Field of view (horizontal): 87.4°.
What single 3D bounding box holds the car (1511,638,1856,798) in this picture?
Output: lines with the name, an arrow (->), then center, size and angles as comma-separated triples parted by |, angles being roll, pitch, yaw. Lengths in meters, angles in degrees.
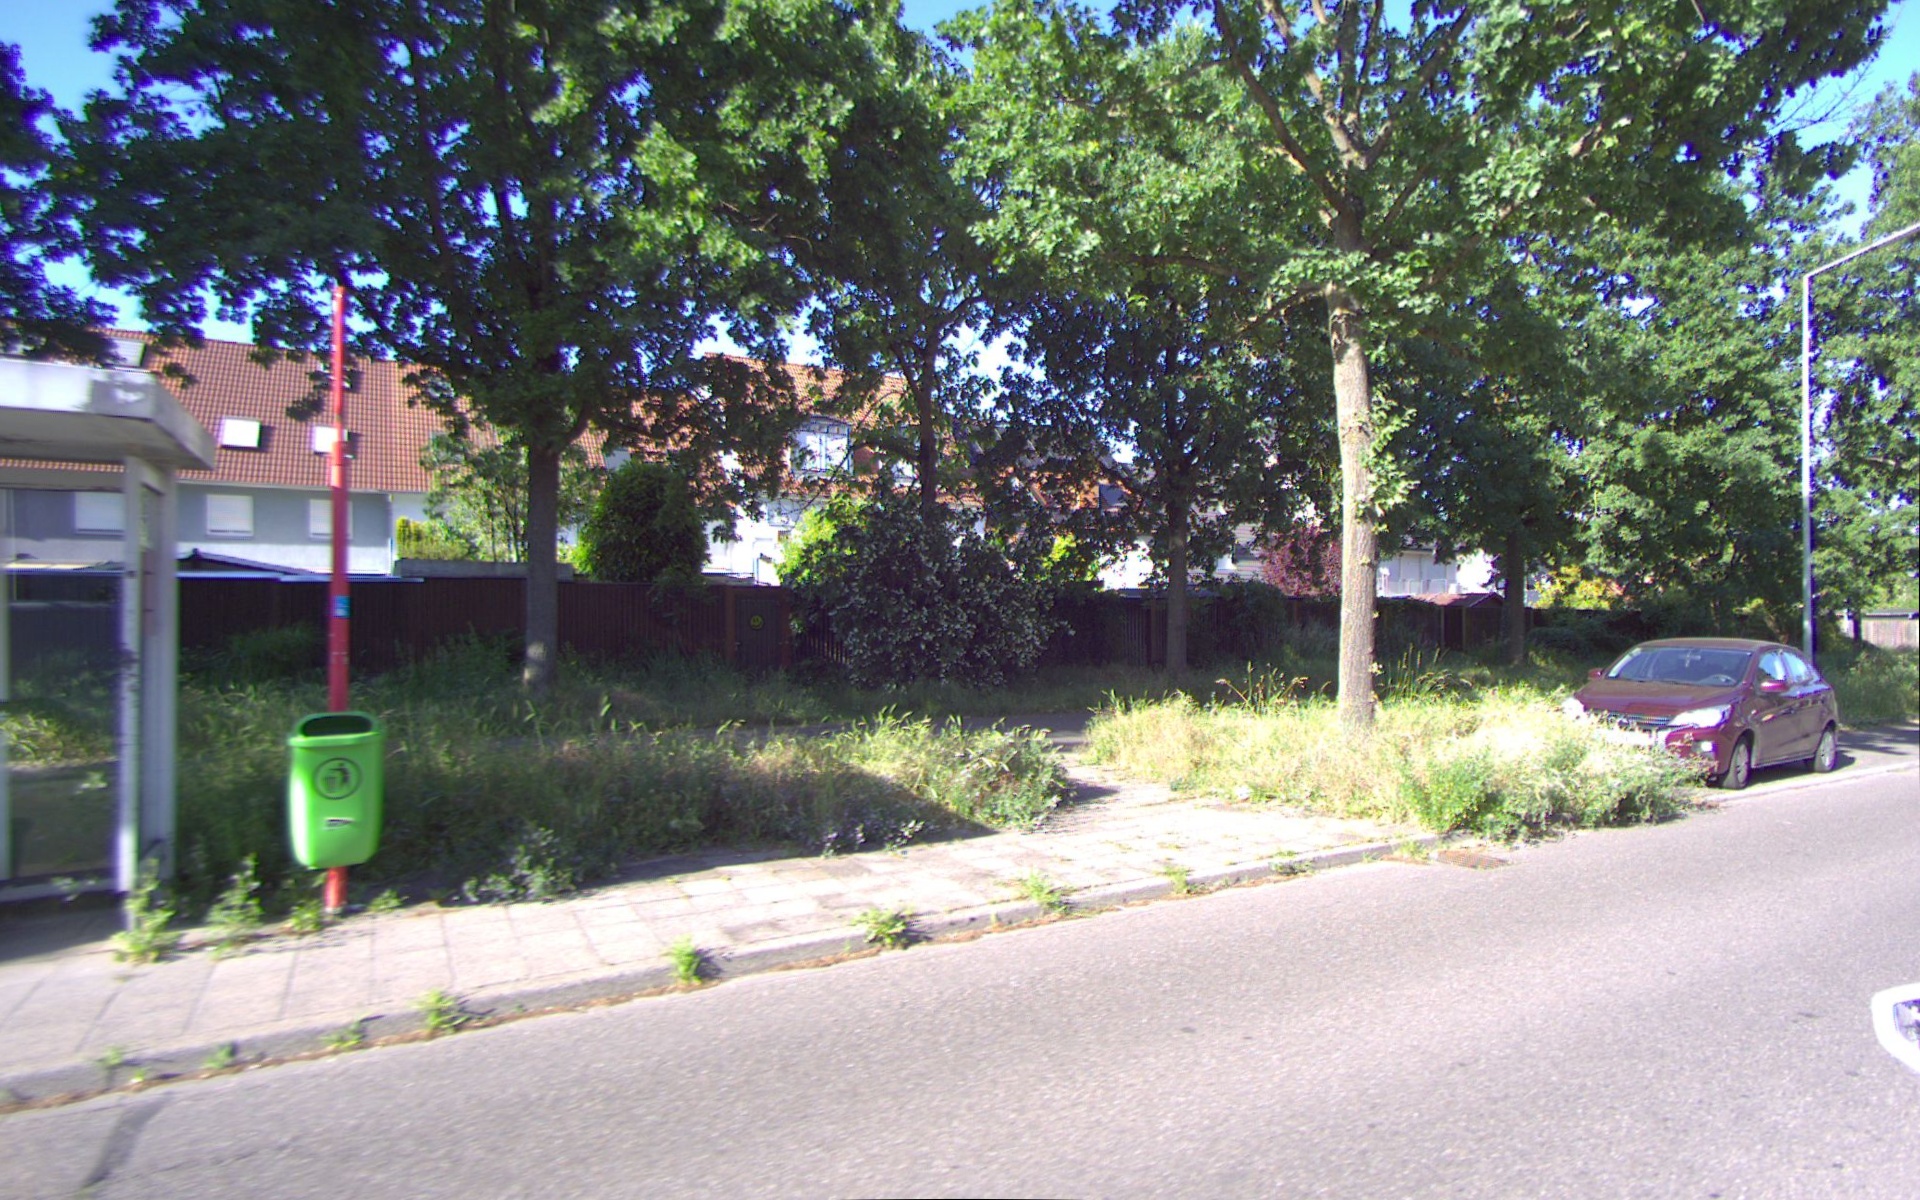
car -> 8.308, 1.193, 11.471 | 3.957, 1.499, 1.925 | 1, -2, -33
